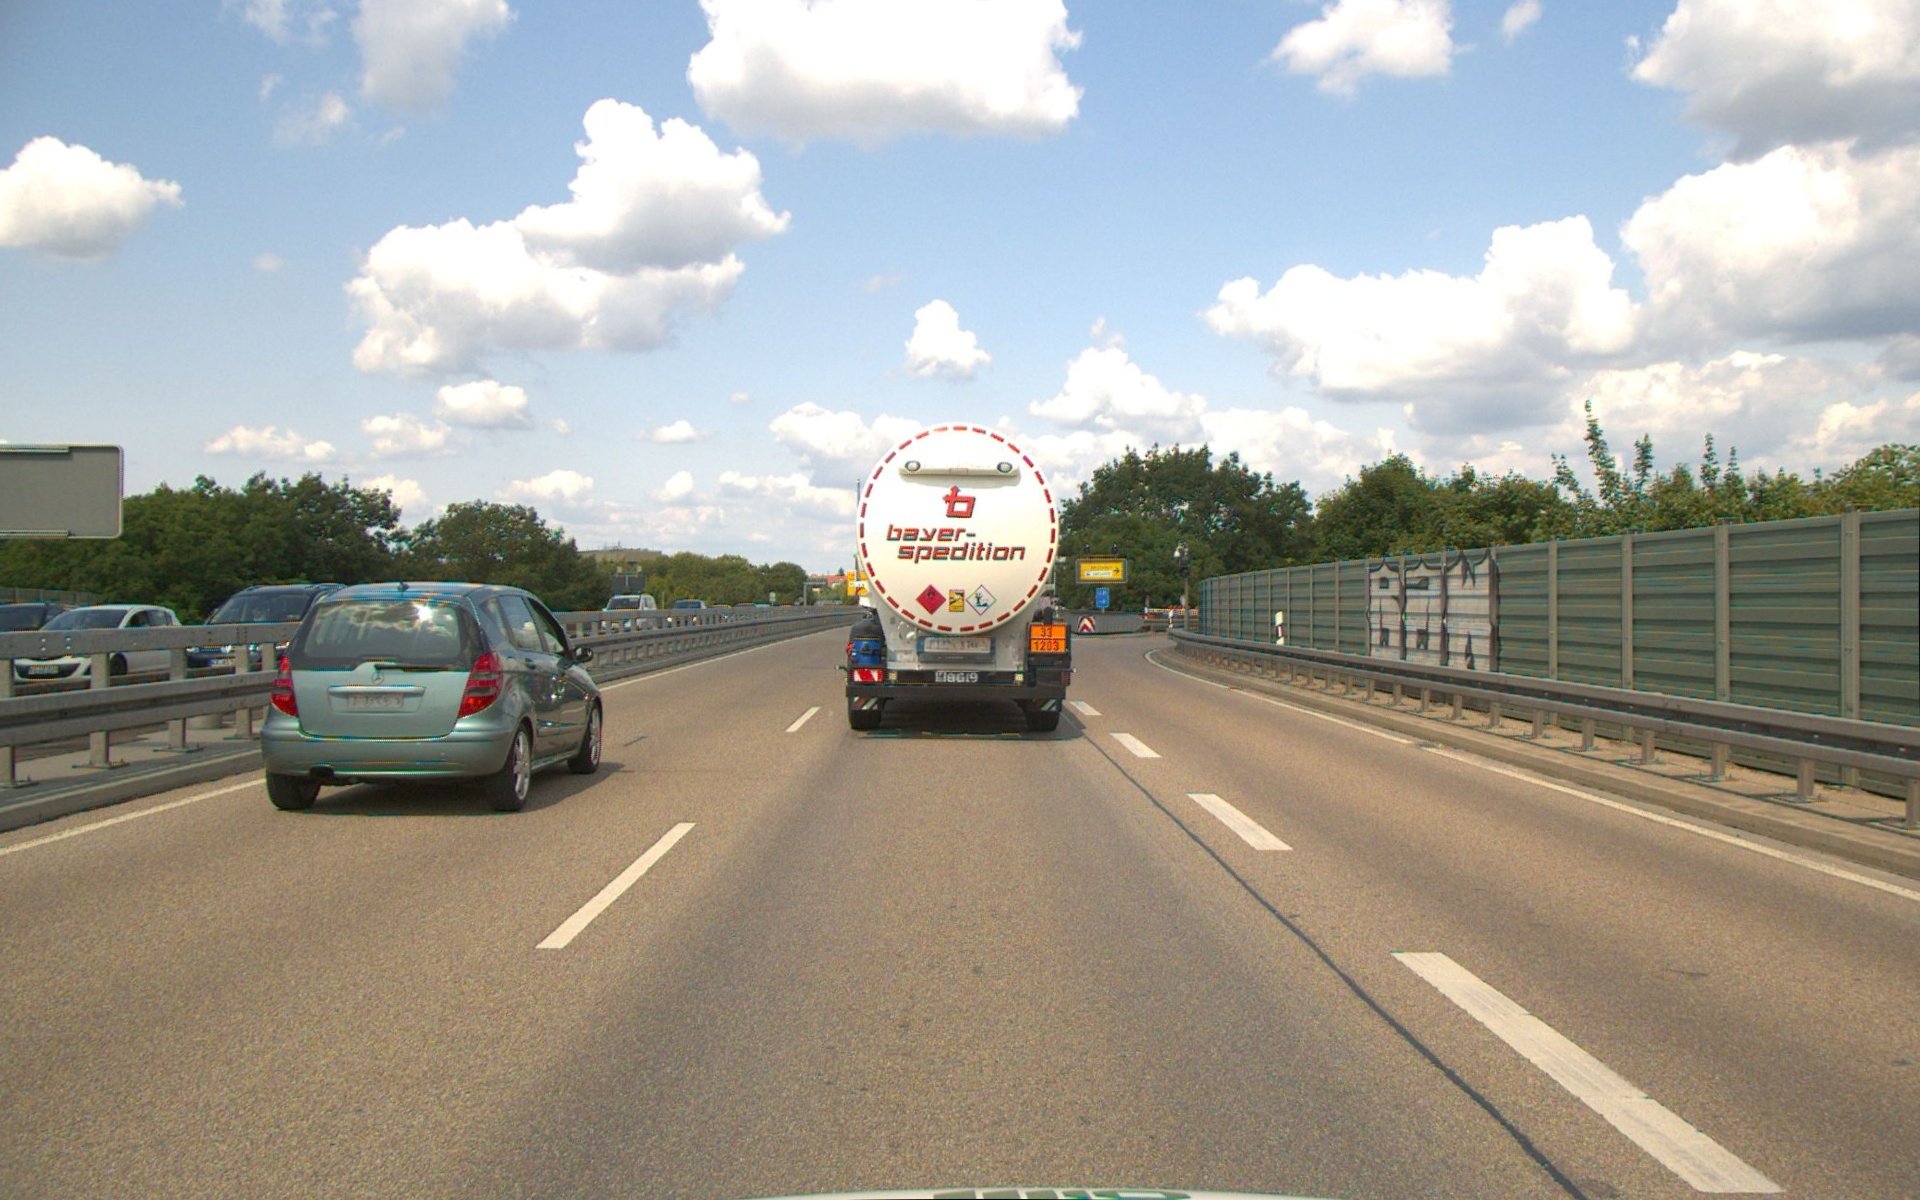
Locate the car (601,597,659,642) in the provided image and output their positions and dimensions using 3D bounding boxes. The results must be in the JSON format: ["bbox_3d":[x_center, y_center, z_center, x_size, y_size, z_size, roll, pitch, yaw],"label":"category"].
[{"bbox_3d":[-15.585,0.893,78.407,1.921,1.959,5.188,2,1,-3],"label":"car"}]

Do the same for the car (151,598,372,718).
[{"bbox_3d":[-11.333,0.884,27.221,1.954,1.780,4.592,1,0,-4],"label":"car"}]

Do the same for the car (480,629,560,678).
[{"bbox_3d":[-15.952,1.907,60.134,1.885,1.601,4.243,-1,0,-2],"label":"car"}]

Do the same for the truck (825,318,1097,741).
[{"bbox_3d":[-0.073,-0.726,21.590,2.836,4.445,8.027,1,0,-1],"label":"truck"}]

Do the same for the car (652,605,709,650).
[{"bbox_3d":[-12.058,1.171,71.657,1.954,1.889,4.236,1,0,-3],"label":"car"}]

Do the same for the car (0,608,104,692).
[{"bbox_3d":[-19.751,1.028,34.408,1.680,1.648,4.280,-2,0,-1],"label":"car"}]

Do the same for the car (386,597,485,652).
[{"bbox_3d":[-16.049,0.744,50.818,1.885,1.601,3.885,1,0,-2],"label":"car"}]

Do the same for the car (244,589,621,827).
[{"bbox_3d":[-3.872,0.705,12.864,1.712,1.558,3.999,0,0,-1],"label":"car"}]

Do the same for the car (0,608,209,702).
[{"bbox_3d":[-15.216,0.931,29.642,1.746,1.535,3.958,1,0,-1],"label":"car"}]

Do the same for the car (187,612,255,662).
[{"bbox_3d":[-25.345,1.224,56.639,1.901,1.601,4.244,0,0,-28],"label":"car"}]
